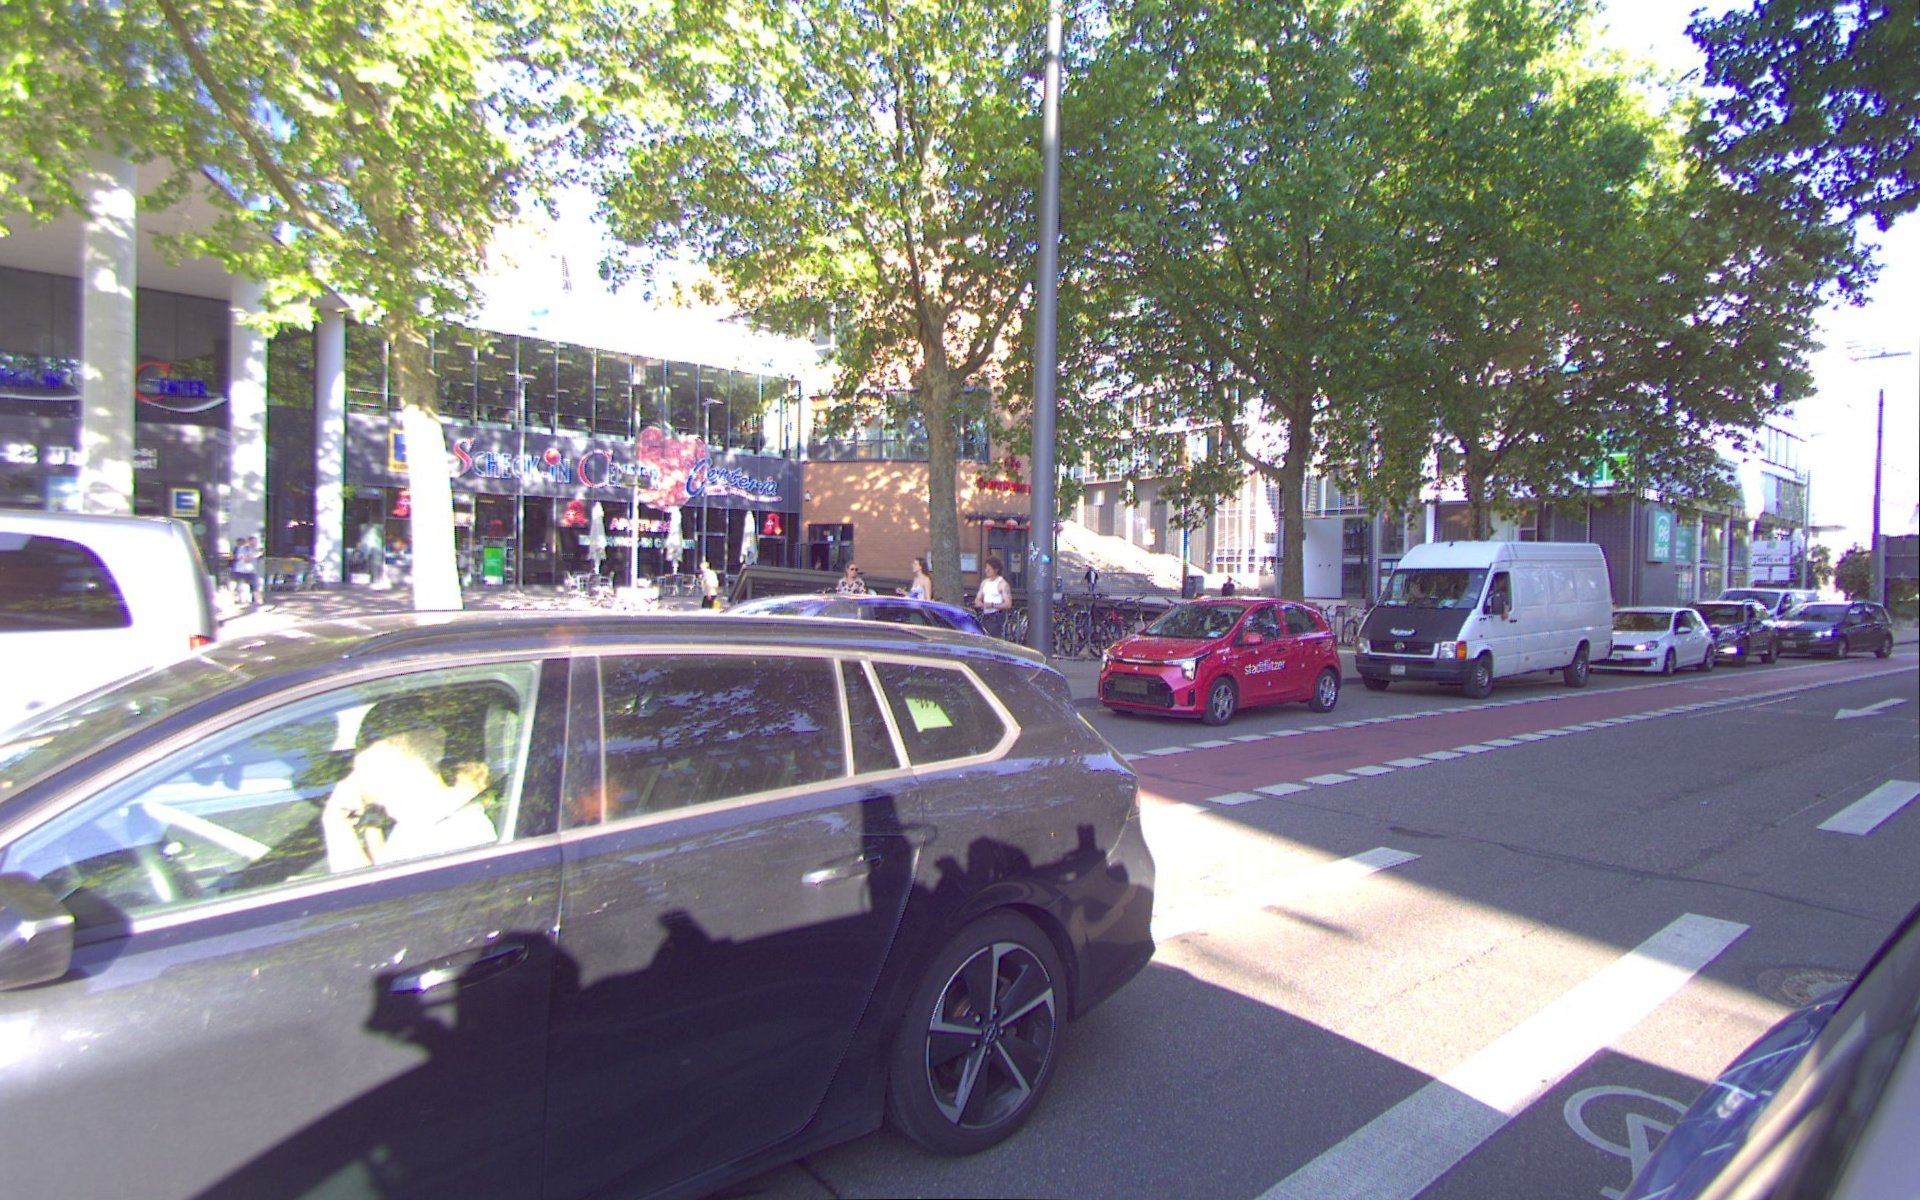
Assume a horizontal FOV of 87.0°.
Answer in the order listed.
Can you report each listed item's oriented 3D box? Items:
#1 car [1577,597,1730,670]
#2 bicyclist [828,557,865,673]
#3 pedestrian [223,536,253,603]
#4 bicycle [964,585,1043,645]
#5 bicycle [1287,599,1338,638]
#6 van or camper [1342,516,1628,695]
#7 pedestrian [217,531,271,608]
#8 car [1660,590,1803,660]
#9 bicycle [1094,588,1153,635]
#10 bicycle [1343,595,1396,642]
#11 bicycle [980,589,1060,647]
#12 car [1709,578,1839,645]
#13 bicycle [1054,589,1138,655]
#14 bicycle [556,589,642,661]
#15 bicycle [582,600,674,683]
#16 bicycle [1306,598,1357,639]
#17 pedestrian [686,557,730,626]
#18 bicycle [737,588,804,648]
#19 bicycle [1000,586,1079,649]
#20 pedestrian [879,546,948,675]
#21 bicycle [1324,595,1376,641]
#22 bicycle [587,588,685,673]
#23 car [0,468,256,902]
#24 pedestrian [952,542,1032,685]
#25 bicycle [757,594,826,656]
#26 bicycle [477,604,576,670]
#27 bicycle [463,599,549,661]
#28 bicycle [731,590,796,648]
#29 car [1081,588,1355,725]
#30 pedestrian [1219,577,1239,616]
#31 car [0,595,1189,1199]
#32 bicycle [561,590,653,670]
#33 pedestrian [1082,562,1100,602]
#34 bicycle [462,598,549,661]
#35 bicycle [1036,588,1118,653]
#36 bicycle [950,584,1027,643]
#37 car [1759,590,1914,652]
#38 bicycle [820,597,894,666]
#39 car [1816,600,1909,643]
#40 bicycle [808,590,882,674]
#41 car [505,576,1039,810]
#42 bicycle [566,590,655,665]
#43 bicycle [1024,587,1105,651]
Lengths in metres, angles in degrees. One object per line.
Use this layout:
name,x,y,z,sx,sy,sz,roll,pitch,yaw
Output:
car,15.282,0.675,22.236,3.927,1.446,1.683,0,1,-38
bicyclist,-1.767,0.226,15.772,0.392,1.782,0.390,0,1,-41
pedestrian,-18.734,-0.799,26.255,0.506,1.707,0.604,1,1,-23
bicycle,0.933,0.295,21.344,1.818,1.209,0.458,0,1,-41
bicycle,9.924,0.504,28.450,1.818,1.046,0.515,0,2,-41
van or camper,9.285,0.066,17.548,6.456,2.611,1.998,0,0,-39
pedestrian,-17.283,-0.730,24.442,0.870,1.805,0.603,1,1,-4
car,19.702,0.588,25.790,4.148,1.640,1.819,0,1,-36
bicycle,4.389,0.304,27.062,1.759,1.209,0.517,0,1,-41
bicycle,11.031,0.476,27.228,1.818,1.209,0.521,0,2,-41
bicycle,1.254,0.350,20.964,1.818,1.139,0.484,0,2,-41
car,26.448,0.342,32.840,4.863,2.020,1.968,0,1,-35
bicycle,2.619,0.397,19.361,1.818,1.209,0.481,0,1,-41
bicycle,-5.799,0.378,16.297,0.414,1.110,1.269,2,1,41
bicycle,-4.624,0.563,14.142,1.202,1.110,0.269,0,1,-40
bicycle,10.307,0.494,28.039,1.766,1.108,0.522,0,2,-41
pedestrian,-6.465,-0.230,25.967,0.797,1.728,0.712,1,1,23
bicycle,-3.645,0.342,19.501,1.202,1.110,0.444,0,1,-40
bicycle,1.627,0.338,20.516,1.818,1.209,0.447,0,1,-41
pedestrian,-0.663,0.131,14.603,0.645,1.799,0.754,1,1,36
bicycle,10.663,0.483,27.627,1.818,1.209,0.495,0,1,-41
bicycle,-4.437,0.397,13.880,1.202,1.110,0.413,0,1,-40
car,-6.207,0.366,4.388,5.008,2.004,1.940,0,2,-41
pedestrian,0.450,0.171,13.961,0.640,1.867,0.803,6,4,35
bicycle,-3.126,0.443,18.824,1.202,1.110,0.427,0,1,-40
bicycle,-6.240,0.517,14.592,1.231,0.898,0.462,0,1,-40
bicycle,-7.123,0.462,15.917,1.198,0.938,0.465,1,1,-22
bicycle,-3.889,0.372,20.045,1.202,1.110,0.429,0,1,-40
car,3.345,0.606,12.820,3.588,1.476,1.605,0,1,-41
pedestrian,10.923,-0.151,41.072,0.707,1.578,0.638,1,1,14
car,-1.423,0.706,2.467,4.196,1.432,1.742,0,0,-41
bicycle,-5.159,0.423,14.836,1.202,1.110,0.396,0,1,-40
pedestrian,6.771,-0.938,52.192,0.861,2.062,0.585,1,1,6
bicycle,-6.961,0.452,15.539,1.198,0.930,0.442,1,1,-22
bicycle,2.297,0.386,19.746,1.818,1.209,0.448,0,1,-41
bicycle,0.635,0.270,21.697,1.818,1.209,0.434,0,1,-41
car,25.223,0.577,29.109,4.242,1.640,1.970,0,1,-28
bicycle,-1.735,0.517,17.089,1.202,1.110,0.420,0,1,-40
car,32.047,0.730,35.909,3.927,1.394,1.802,0,2,-38
bicycle,-1.786,0.480,15.780,1.126,1.271,0.379,0,1,-41
car,-1.419,0.588,8.638,4.177,1.503,1.742,0,2,-41
bicycle,-5.362,0.405,15.584,0.372,1.110,1.269,2,1,41
bicycle,2.108,0.361,20.255,1.818,1.209,0.484,0,1,-41
